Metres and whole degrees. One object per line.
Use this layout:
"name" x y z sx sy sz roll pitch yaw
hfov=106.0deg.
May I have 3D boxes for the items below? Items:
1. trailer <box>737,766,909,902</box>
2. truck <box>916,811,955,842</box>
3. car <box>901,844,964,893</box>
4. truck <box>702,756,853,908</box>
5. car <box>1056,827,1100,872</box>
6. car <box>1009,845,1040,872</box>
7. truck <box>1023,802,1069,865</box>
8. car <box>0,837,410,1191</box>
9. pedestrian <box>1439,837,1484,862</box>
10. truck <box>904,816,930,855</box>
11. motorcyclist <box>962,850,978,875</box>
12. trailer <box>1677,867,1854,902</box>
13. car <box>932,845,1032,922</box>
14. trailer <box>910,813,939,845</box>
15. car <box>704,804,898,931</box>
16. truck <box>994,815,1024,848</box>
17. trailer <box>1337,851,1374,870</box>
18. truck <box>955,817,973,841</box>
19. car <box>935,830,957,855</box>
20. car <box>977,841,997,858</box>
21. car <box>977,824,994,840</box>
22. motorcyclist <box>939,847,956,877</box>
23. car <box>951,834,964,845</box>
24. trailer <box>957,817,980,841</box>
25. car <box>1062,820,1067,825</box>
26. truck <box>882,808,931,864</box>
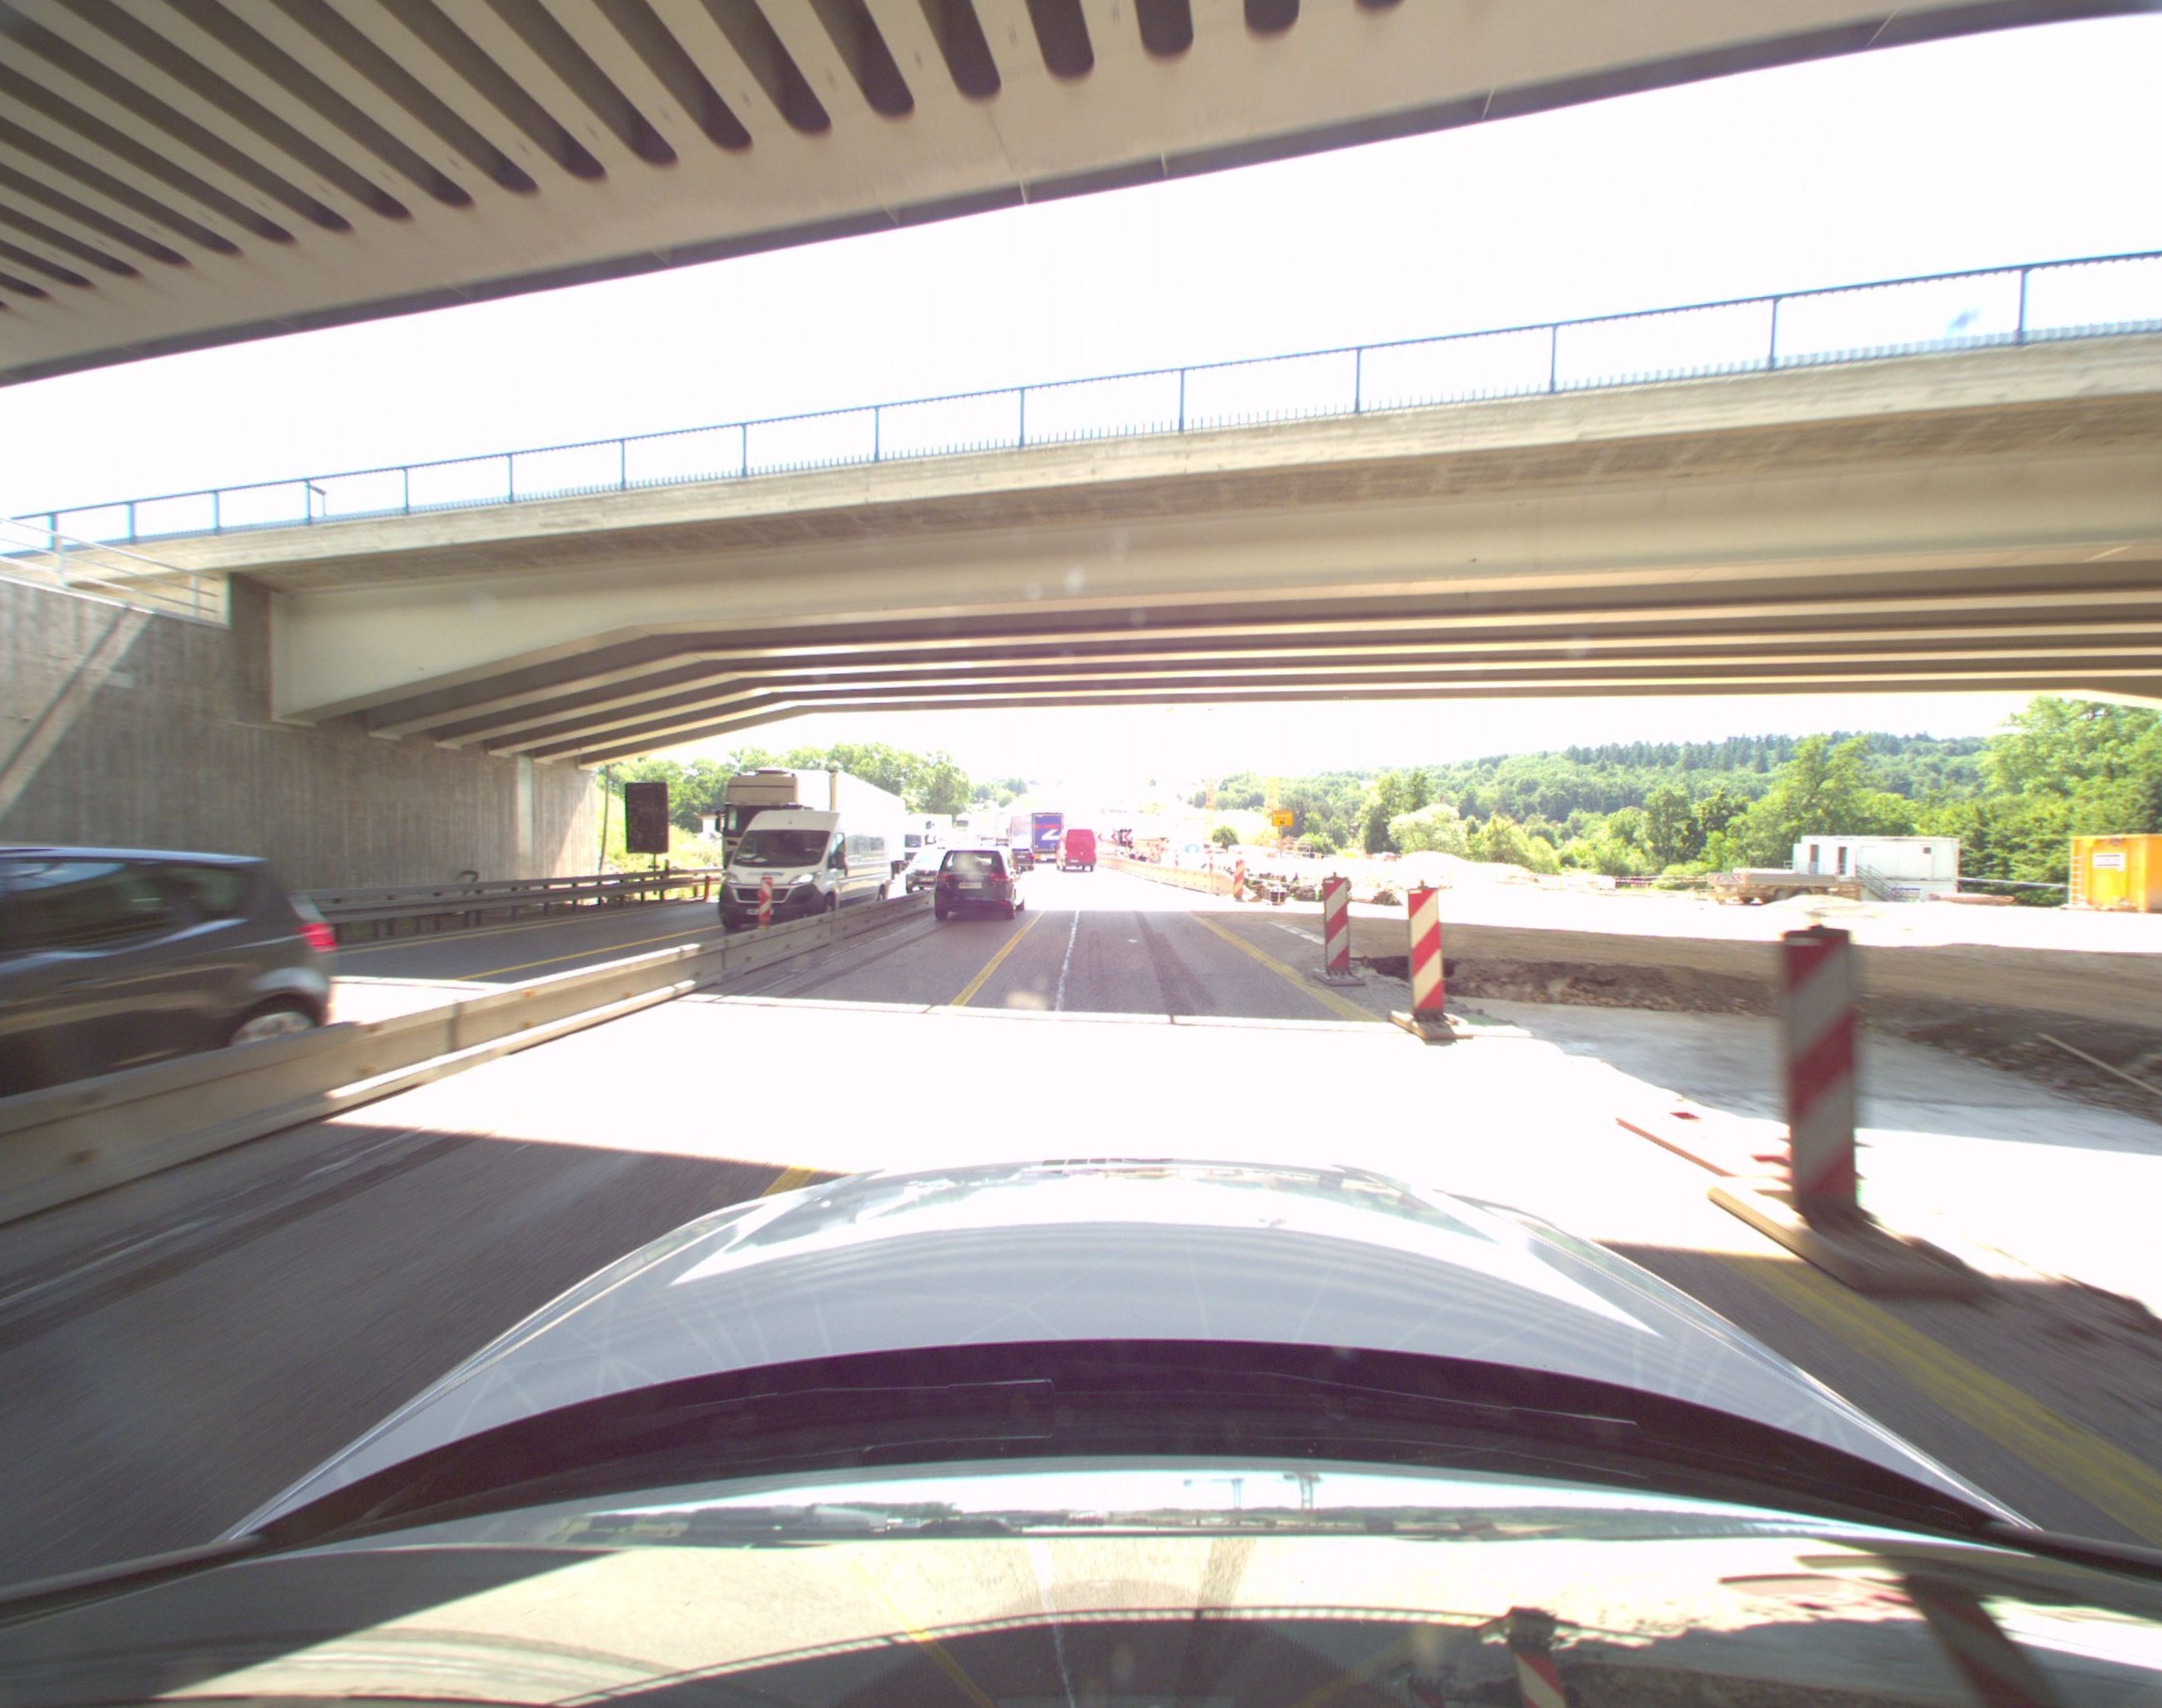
"trailer" -9.344 -0.652 31.872 2.871 4.039 14.340 1 0 -3
"truck" -21.073 -3.985 119.322 2.797 4.341 15.378 0 2 1
"car" -5.455 0.478 30.387 1.742 1.670 4.076 0 1 -2
"truck" -8.912 -0.613 24.543 2.868 4.051 4.878 1 0 -4
"car" -0.256 -0.325 50.949 2.147 2.610 5.427 0 1 -6
"car" -3.584 0.225 52.160 1.829 1.635 4.385 0 1 -3
"truck" -2.977 -1.761 67.595 2.945 4.944 6.719 0 2 -10
"car" -5.774 0.729 3.797 1.742 1.610 4.143 0 0 2
"pedestrian" 32.861 -0.334 70.452 1.987 2.014 3.999 0 -1 0
"truck" -16.764 -1.896 83.307 2.535 3.821 4.931 1 0 -12
"motorcyclist" -6.155 0.476 45.150 0.808 1.416 0.742 0 -2 -1
"trailer" 24.693 1.105 29.521 4.696 1.220 2.056 0 -1 1
"car" -2.247 0.616 19.610 1.727 1.635 4.391 0 1 1
"trailer" -21.139 -3.391 110.503 2.856 4.229 5.219 0 1 0
"car" -5.808 0.258 17.943 1.973 2.330 6.061 0 0 2
"truck" -9.149 -2.912 104.352 3.171 3.988 6.744 0 2 1
"trailer" 22.457 0.483 66.851 1.619 1.486 3.823 1 0 -2
"truck" -20.907 -4.473 146.046 2.619 4.269 4.728 1 1 -3
"car" -14.078 -1.143 84.521 2.072 2.503 6.460 0 0 -11
"car" -9.121 -0.466 79.021 1.833 1.635 4.095 0 1 -8
"car" -14.681 -3.391 125.298 2.259 2.354 5.156 0 2 -3
"motorcyclist" -6.502 0.394 39.651 0.716 1.416 0.742 0 -2 -1
"car" -17.010 -2.050 112.478 1.675 1.361 4.493 0 2 -7
"trailer" -21.071 -4.676 152.918 2.640 4.292 13.305 1 1 -1
"car" -5.296 -10.035 258.133 1.612 1.699 3.890 1 2 0
"truck" -12.110 -1.177 56.035 2.822 3.575 8.454 0 1 -15
